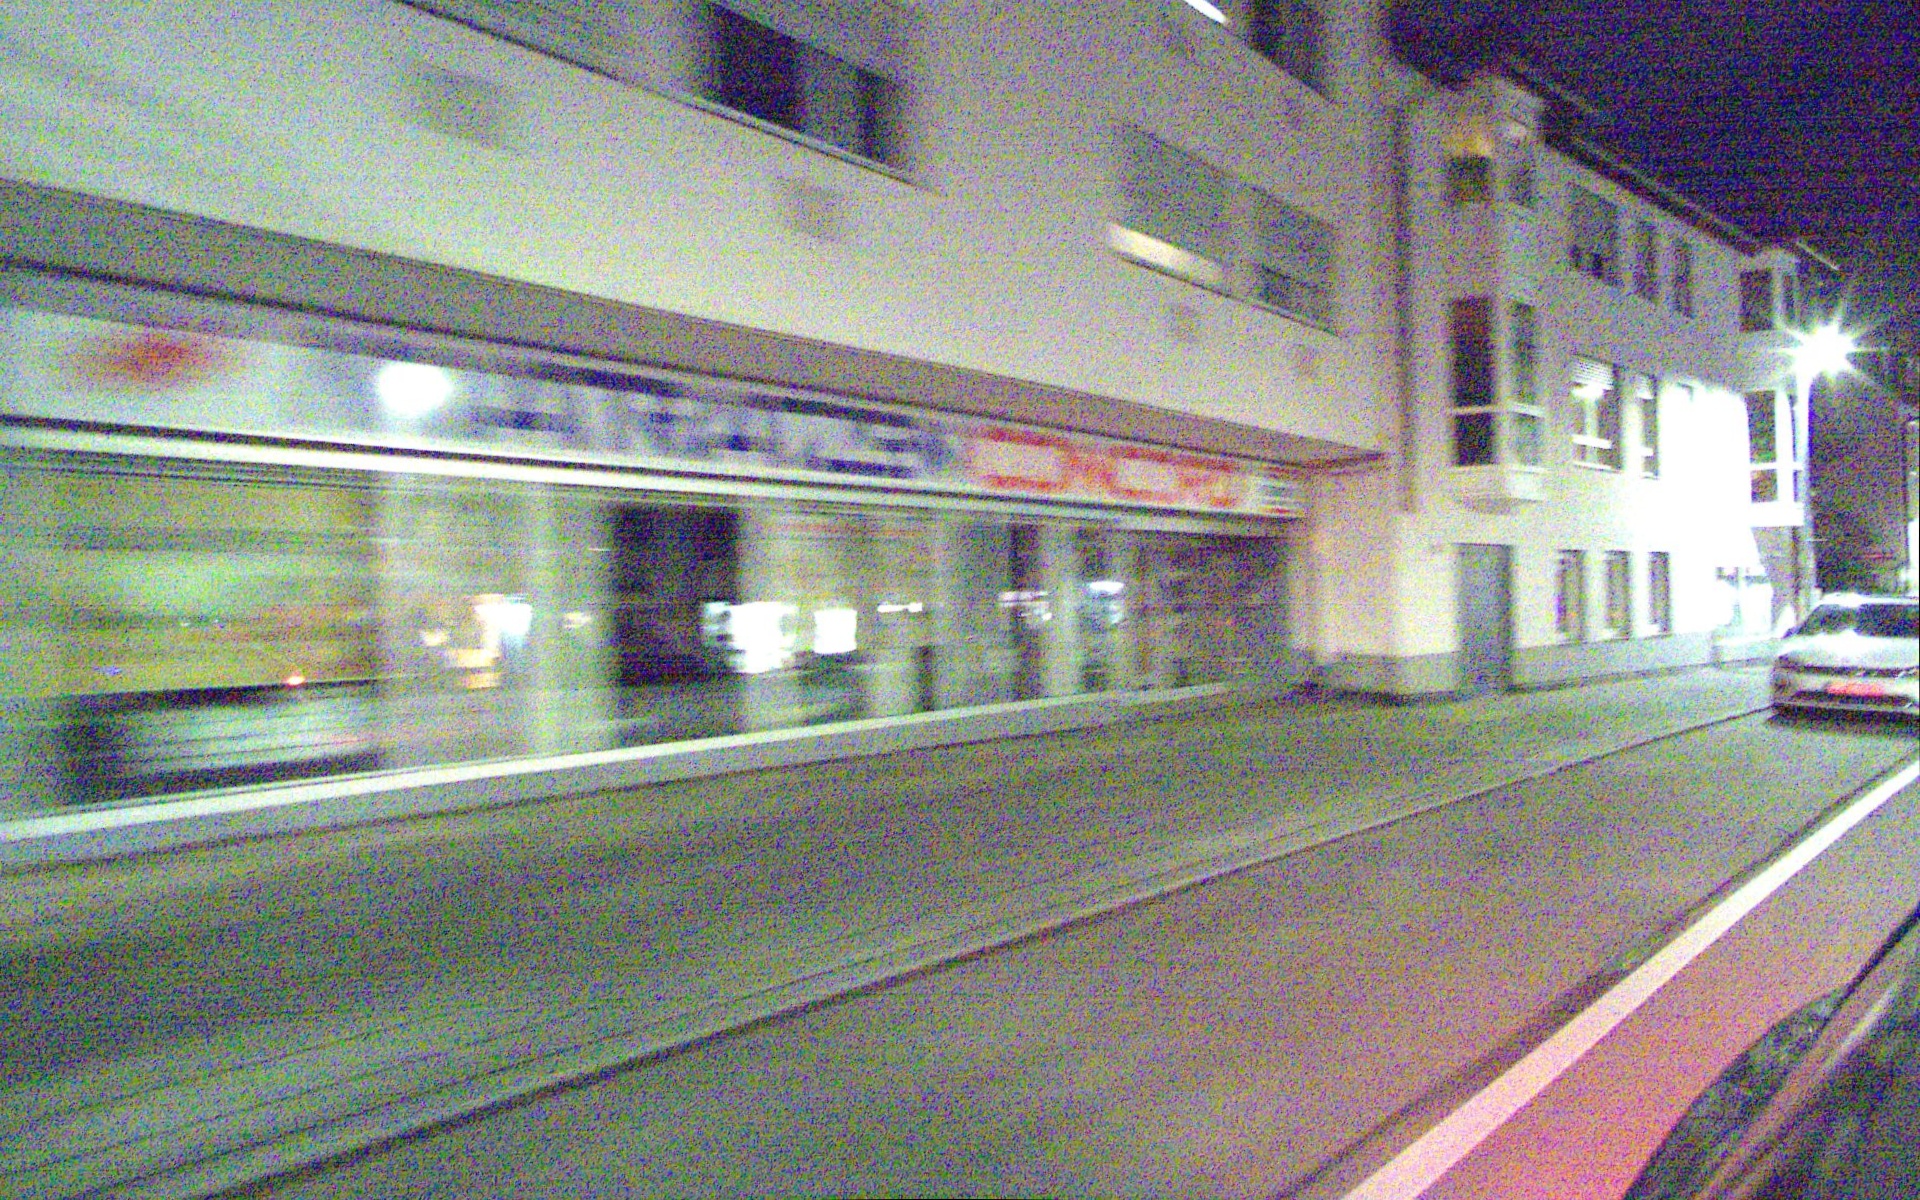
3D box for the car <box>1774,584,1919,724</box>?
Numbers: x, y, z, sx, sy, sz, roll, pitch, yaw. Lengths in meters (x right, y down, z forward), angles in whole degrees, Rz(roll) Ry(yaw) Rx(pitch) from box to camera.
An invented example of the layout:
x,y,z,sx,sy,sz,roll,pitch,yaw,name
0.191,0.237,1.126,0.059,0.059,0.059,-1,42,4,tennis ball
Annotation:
x,y,z,sx,sy,sz,roll,pitch,yaw,name
12.159,0.595,13.177,4.135,1.589,1.745,0,1,-41,car
